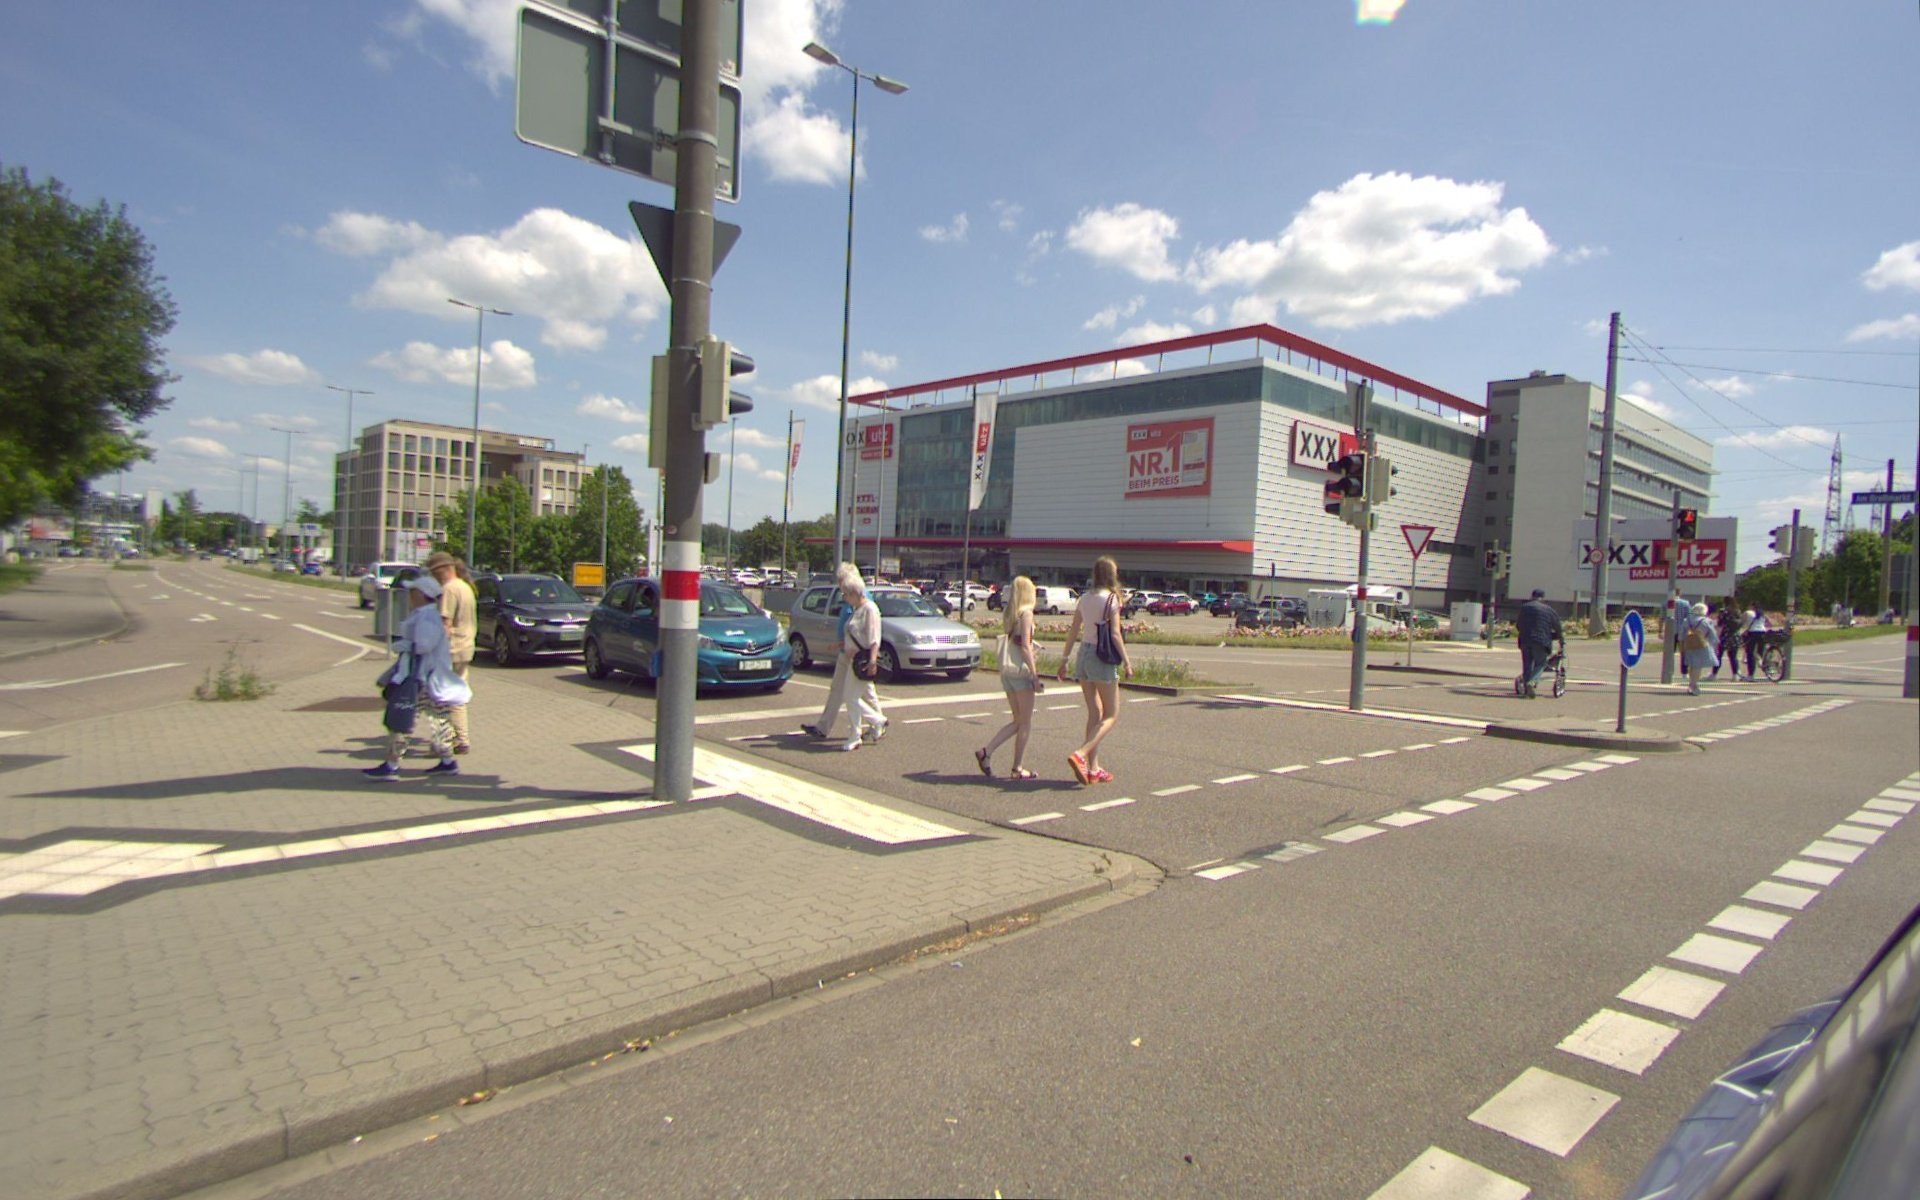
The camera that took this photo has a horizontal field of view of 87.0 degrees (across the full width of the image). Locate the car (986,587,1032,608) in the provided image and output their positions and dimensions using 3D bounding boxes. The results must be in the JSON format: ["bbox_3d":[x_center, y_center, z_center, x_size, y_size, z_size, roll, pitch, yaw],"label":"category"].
[{"bbox_3d":[3.713,-0.208,76.395,3.343,1.479,1.690,1,1,-44],"label":"car"}]

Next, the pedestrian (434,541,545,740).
[{"bbox_3d":[-4.228,0.338,9.101,0.834,1.680,0.799,1,1,-26],"label":"pedestrian"}]

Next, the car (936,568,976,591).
[{"bbox_3d":[-0.373,-1.951,95.998,3.541,2.039,1.722,1,1,-41],"label":"car"}]

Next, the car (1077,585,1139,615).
[{"bbox_3d":[10.137,0.018,69.133,4.407,1.936,1.589,1,1,-40],"label":"car"}]

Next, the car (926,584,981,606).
[{"bbox_3d":[-0.450,-0.340,73.891,1.849,1.565,3.937,2,1,43],"label":"car"}]

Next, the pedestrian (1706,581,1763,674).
[{"bbox_3d":[15.486,0.531,20.252,0.800,1.782,0.788,1,0,32],"label":"pedestrian"}]

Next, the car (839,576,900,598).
[{"bbox_3d":[-7.435,-1.068,83.724,4.781,1.723,1.853,1,1,-38],"label":"car"}]

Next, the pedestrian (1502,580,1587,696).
[{"bbox_3d":[8.930,0.559,15.468,0.929,1.693,0.785,1,1,-36],"label":"pedestrian"}]

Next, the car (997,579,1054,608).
[{"bbox_3d":[4.823,-0.472,74.749,3.930,2.039,1.997,0,1,-41],"label":"car"}]

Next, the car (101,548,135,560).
[{"bbox_3d":[-130.952,-7.125,157.410,1.780,1.632,3.665,2,1,23],"label":"car"}]

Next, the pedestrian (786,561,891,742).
[{"bbox_3d":[-1.176,0.457,9.728,0.846,1.658,0.605,0,1,-27],"label":"pedestrian"}]

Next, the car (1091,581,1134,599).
[{"bbox_3d":[15.468,-1.014,102.456,4.443,1.714,1.996,0,1,-43],"label":"car"}]

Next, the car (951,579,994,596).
[{"bbox_3d":[1.209,-1.168,94.704,3.931,1.546,1.691,0,1,-42],"label":"car"}]

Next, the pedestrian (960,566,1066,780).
[{"bbox_3d":[0.417,0.542,7.959,0.601,1.599,0.528,1,1,-39],"label":"pedestrian"}]

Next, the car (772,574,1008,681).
[{"bbox_3d":[-1.213,0.354,16.050,1.772,1.414,3.831,1,1,-41],"label":"car"}]

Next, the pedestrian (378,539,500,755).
[{"bbox_3d":[-4.304,0.358,8.411,0.834,1.680,0.799,1,1,-26],"label":"pedestrian"}]

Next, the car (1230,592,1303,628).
[{"bbox_3d":[18.201,0.594,59.966,4.372,2.039,1.998,1,1,-39],"label":"car"}]

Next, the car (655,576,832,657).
[{"bbox_3d":[-4.404,0.255,20.143,1.771,1.415,4.230,-2,2,-38],"label":"car"}]

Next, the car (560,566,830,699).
[{"bbox_3d":[-3.809,0.339,14.137,1.967,1.575,3.991,0,1,-44],"label":"car"}]

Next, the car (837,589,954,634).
[{"bbox_3d":[-2.438,0.396,37.201,4.448,1.415,1.774,3,2,45],"label":"car"}]

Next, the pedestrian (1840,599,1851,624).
[{"bbox_3d":[65.976,0.880,75.419,0.623,1.815,0.518,1,1,-42],"label":"pedestrian"}]

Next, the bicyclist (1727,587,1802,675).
[{"bbox_3d":[16.324,0.620,20.557,0.800,1.722,0.800,2,1,-2],"label":"bicyclist"}]

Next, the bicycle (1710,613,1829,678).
[{"bbox_3d":[16.458,0.893,20.642,0.815,1.176,1.880,2,1,-2],"label":"bicycle"}]

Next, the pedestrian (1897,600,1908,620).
[{"bbox_3d":[80.862,0.838,86.807,0.623,1.675,0.599,1,1,-42],"label":"pedestrian"}]

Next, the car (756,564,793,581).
[{"bbox_3d":[-22.523,-3.321,122.680,3.931,2.039,1.996,0,1,-42],"label":"car"}]

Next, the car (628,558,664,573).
[{"bbox_3d":[-39.041,-4.282,125.968,3.931,1.749,1.735,0,1,-42],"label":"car"}]

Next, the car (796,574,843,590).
[{"bbox_3d":[-13.564,-1.771,97.716,4.179,1.430,1.859,1,1,-39],"label":"car"}]

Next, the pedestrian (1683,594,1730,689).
[{"bbox_3d":[12.179,0.650,16.500,0.588,1.494,0.795,1,0,38],"label":"pedestrian"}]

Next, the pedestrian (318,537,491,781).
[{"bbox_3d":[-4.052,0.406,7.442,0.835,1.680,0.798,1,1,-4],"label":"pedestrian"}]

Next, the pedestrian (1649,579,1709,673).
[{"bbox_3d":[14.891,0.511,20.955,0.783,1.888,0.805,1,1,-38],"label":"pedestrian"}]

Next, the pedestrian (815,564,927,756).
[{"bbox_3d":[-0.815,0.508,9.235,0.846,1.658,0.609,0,1,-27],"label":"pedestrian"}]

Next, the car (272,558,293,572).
[{"bbox_3d":[-83.258,-4.354,124.368,1.730,1.632,3.544,1,1,-41],"label":"car"}]

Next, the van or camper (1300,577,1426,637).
[{"bbox_3d":[21.458,0.313,53.701,7.472,2.983,2.717,0,1,-37],"label":"van or camper"}]

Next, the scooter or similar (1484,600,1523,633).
[{"bbox_3d":[20.395,0.614,37.975,1.252,1.140,0.481,-2,1,-14],"label":"scooter or similar"}]

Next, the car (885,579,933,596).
[{"bbox_3d":[-4.508,-1.108,89.326,3.927,1.457,1.853,1,1,-38],"label":"car"}]

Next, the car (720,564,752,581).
[{"bbox_3d":[-28.851,-3.561,130.458,3.704,2.039,1.654,1,1,-40],"label":"car"}]

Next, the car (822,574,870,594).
[{"bbox_3d":[-10.582,-1.502,94.090,4.096,1.723,1.853,1,1,-39],"label":"car"}]

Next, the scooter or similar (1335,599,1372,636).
[{"bbox_3d":[14.065,0.624,36.148,1.252,1.307,0.481,1,0,-24],"label":"scooter or similar"}]

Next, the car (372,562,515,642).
[{"bbox_3d":[-11.599,-0.018,22.580,1.831,1.604,4.408,1,1,-41],"label":"car"}]

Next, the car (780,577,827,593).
[{"bbox_3d":[-15.358,-1.475,99.415,4.179,1.430,1.859,0,1,-39],"label":"car"}]

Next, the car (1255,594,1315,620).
[{"bbox_3d":[22.725,0.478,70.676,4.424,1.738,1.997,0,1,-41],"label":"car"}]

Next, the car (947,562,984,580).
[{"bbox_3d":[0.618,-3.431,120.588,4.210,2.039,1.849,0,1,-40],"label":"car"}]

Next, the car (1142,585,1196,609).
[{"bbox_3d":[17.034,-0.238,82.254,4.440,1.918,1.997,0,1,-41],"label":"car"}]

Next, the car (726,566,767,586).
[{"bbox_3d":[-22.382,-2.493,106.342,3.930,2.039,1.544,1,1,-41],"label":"car"}]

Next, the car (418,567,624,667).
[{"bbox_3d":[-7.852,0.217,17.896,4.403,1.461,1.823,3,2,45],"label":"car"}]

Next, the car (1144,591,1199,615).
[{"bbox_3d":[16.363,0.236,78.224,4.178,1.429,1.860,4,2,-39],"label":"car"}]

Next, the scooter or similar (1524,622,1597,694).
[{"bbox_3d":[9.369,0.884,15.799,0.847,1.044,0.692,1,1,-37],"label":"scooter or similar"}]

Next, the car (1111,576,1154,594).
[{"bbox_3d":[17.216,-1.448,100.926,4.443,1.714,1.996,0,1,-43],"label":"car"}]

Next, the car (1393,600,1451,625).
[{"bbox_3d":[31.303,0.849,68.530,4.443,1.583,1.996,1,2,-43],"label":"car"}]

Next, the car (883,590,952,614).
[{"bbox_3d":[-2.567,0.140,61.420,3.874,1.393,1.852,1,1,-41],"label":"car"}]

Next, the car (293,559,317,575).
[{"bbox_3d":[-71.865,-3.627,111.071,1.730,1.632,3.544,1,1,-41],"label":"car"}]

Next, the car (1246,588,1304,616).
[{"bbox_3d":[23.098,0.136,74.209,4.440,1.918,1.997,0,1,-41],"label":"car"}]

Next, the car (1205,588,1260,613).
[{"bbox_3d":[21.510,0.035,79.832,4.440,1.918,1.997,0,1,-41],"label":"car"}]

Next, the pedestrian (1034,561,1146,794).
[{"bbox_3d":[0.990,0.553,7.725,0.628,1.687,0.528,1,1,-39],"label":"pedestrian"}]

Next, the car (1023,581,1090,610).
[{"bbox_3d":[7.025,-0.323,73.135,4.877,2.039,1.997,0,1,-40],"label":"car"}]

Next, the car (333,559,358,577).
[{"bbox_3d":[-75.178,-3.935,123.861,1.965,2.039,3.994,1,1,-41],"label":"car"}]

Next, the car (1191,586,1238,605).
[{"bbox_3d":[23.567,-0.396,93.568,4.440,1.714,1.997,0,1,-41],"label":"car"}]

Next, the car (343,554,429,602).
[{"bbox_3d":[-21.161,-0.832,37.274,1.965,1.660,4.076,1,1,-41],"label":"car"}]

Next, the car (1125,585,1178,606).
[{"bbox_3d":[16.134,-0.371,85.117,4.440,1.756,1.997,0,1,-41],"label":"car"}]
